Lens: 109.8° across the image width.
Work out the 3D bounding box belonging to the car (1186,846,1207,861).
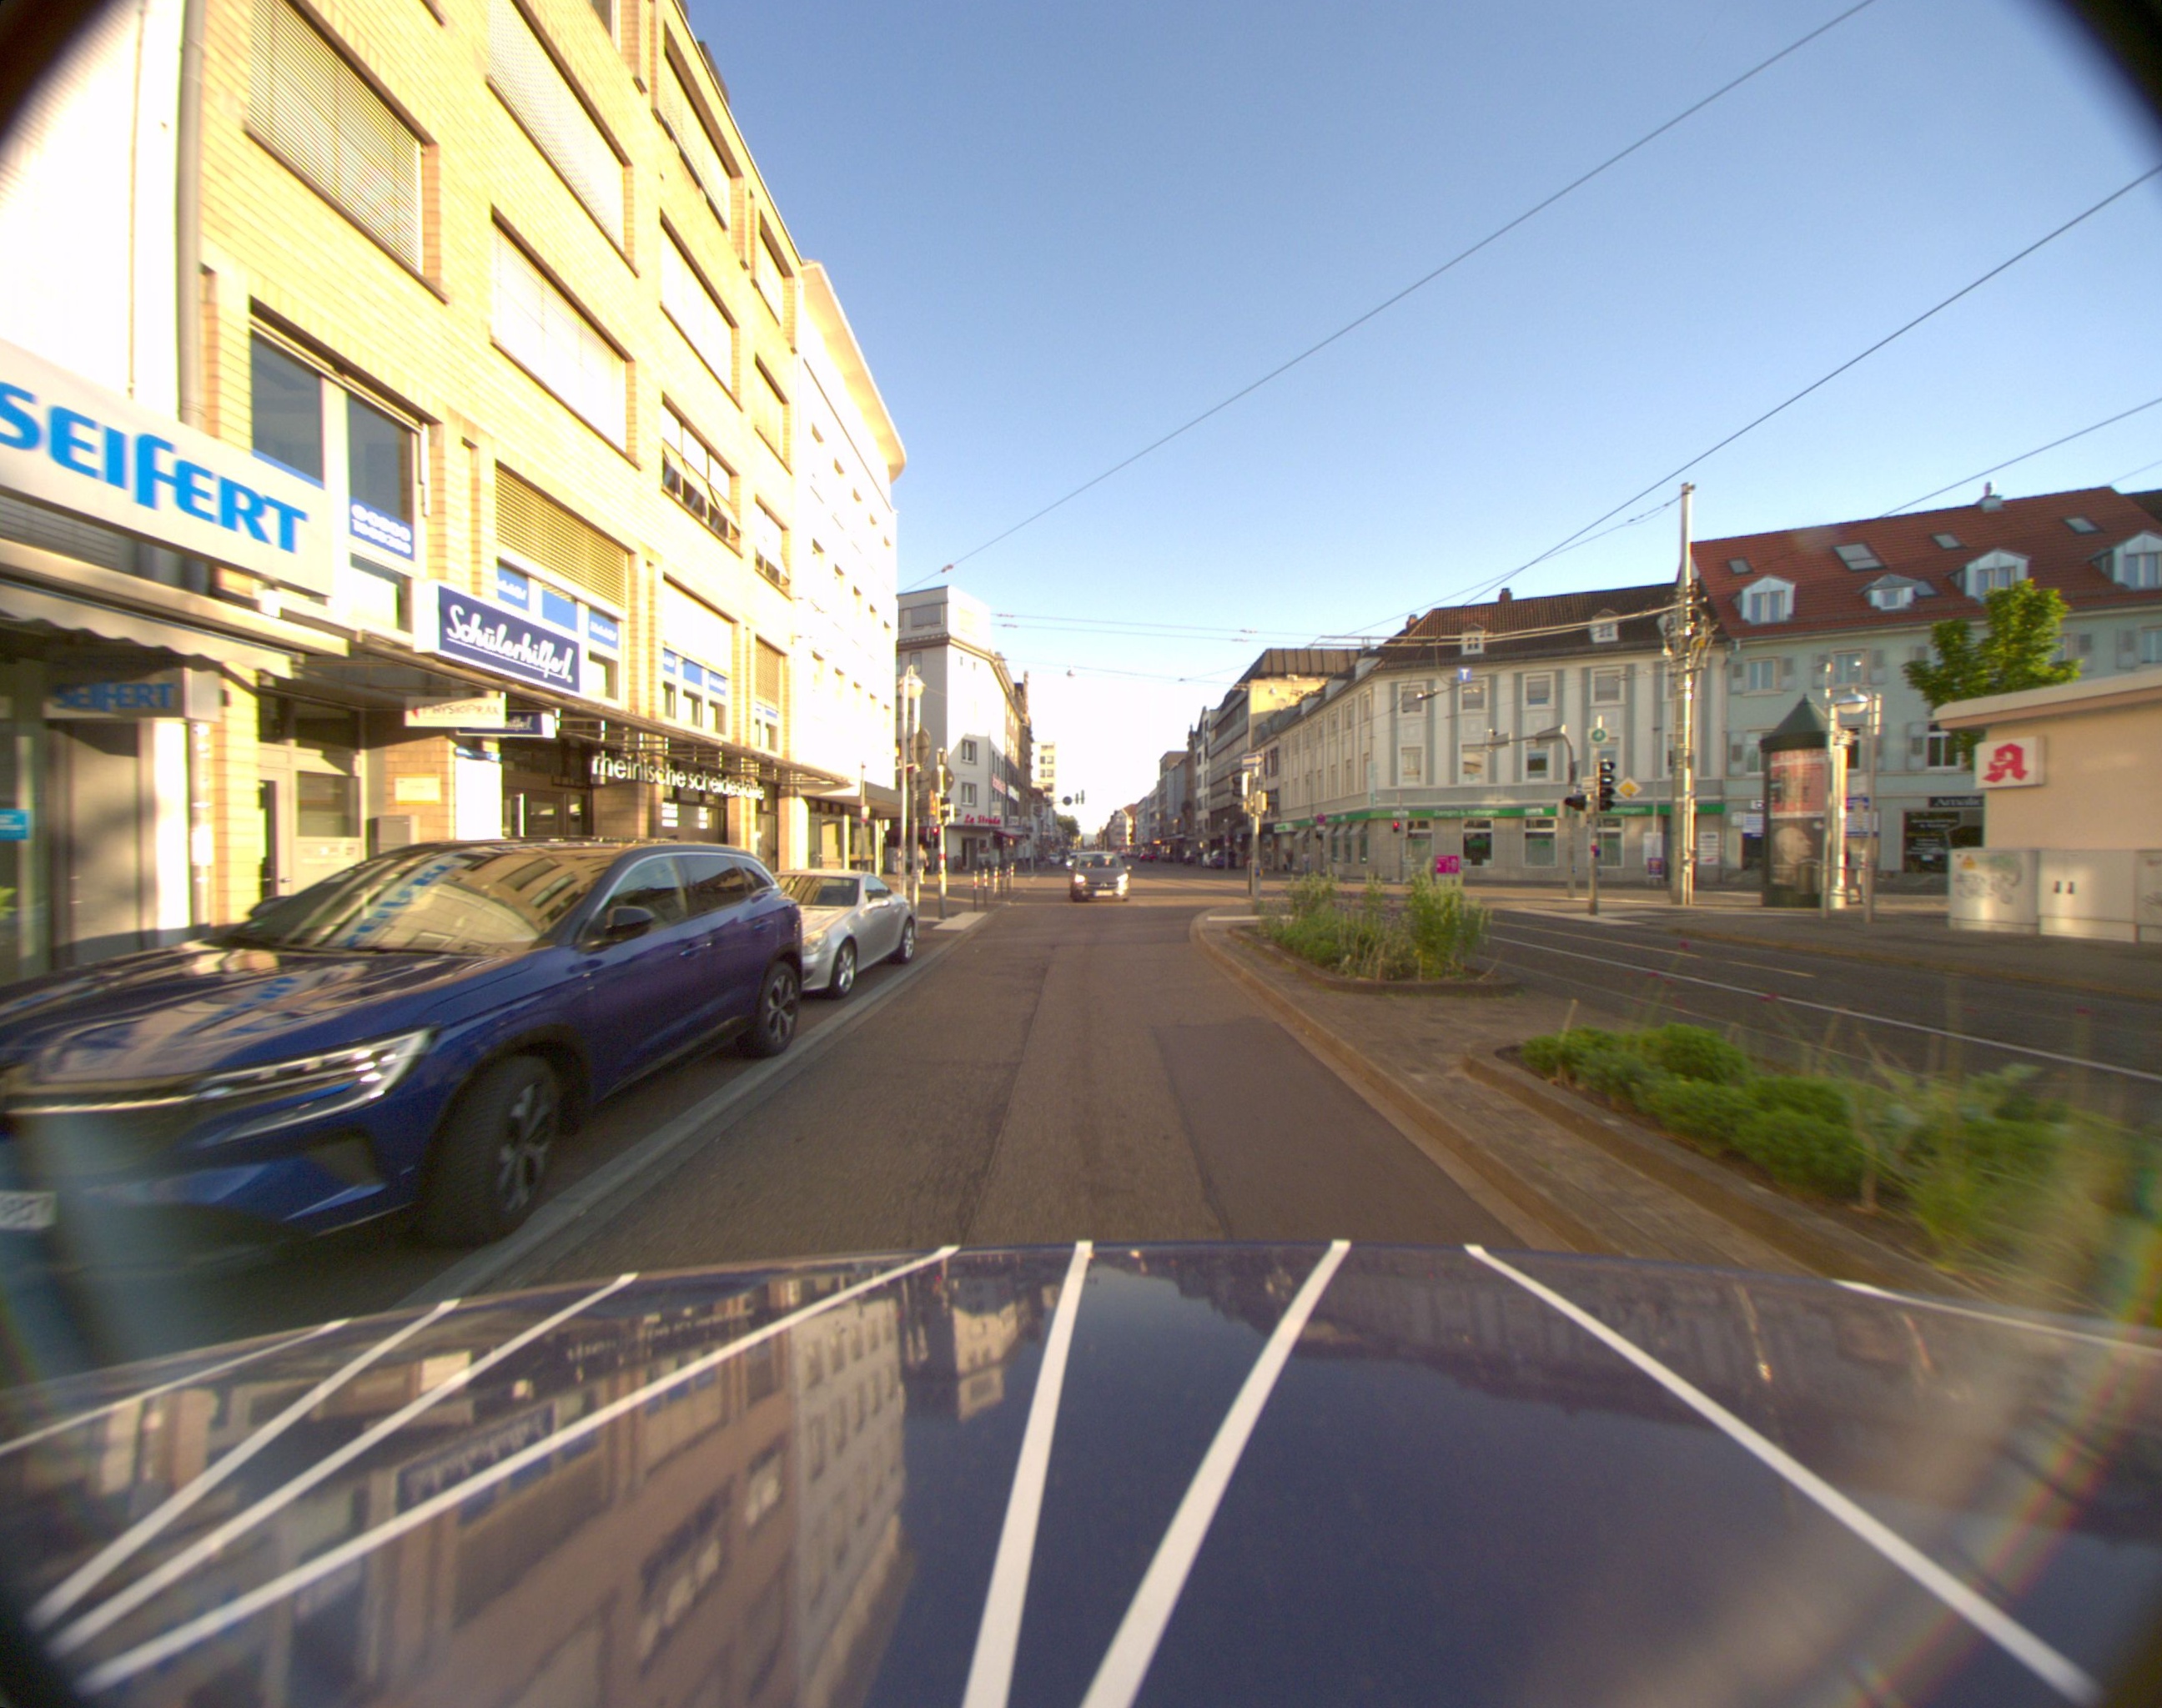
[{"bbox_3d":[13.330,-0.065,87.653,1.819,1.548,3.998,0,2,1],"label":"car"}]

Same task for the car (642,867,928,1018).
[{"bbox_3d":[-3.205,0.867,9.203,1.677,1.275,4.063,0,1,3],"label":"car"}]

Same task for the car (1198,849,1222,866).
[{"bbox_3d":[12.886,0.302,75.950,1.701,1.614,3.999,-1,0,0],"label":"car"}]

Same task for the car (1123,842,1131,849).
[{"bbox_3d":[14.124,-2.668,232.701,1.999,2.003,3.997,0,2,-2],"label":"car"}]

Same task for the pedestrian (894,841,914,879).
[{"bbox_3d":[-8.387,0.283,35.967,0.749,1.763,0.639,0,1,4],"label":"pedestrian"}]

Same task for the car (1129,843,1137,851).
[{"bbox_3d":[13.597,-1.945,198.971,1.960,2.003,3.998,0,2,-1],"label":"car"}]

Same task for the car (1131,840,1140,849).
[{"bbox_3d":[13.751,-2.435,191.558,1.975,2.181,4.132,0,2,0],"label":"car"}]

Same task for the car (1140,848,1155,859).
[{"bbox_3d":[9.751,-0.053,112.118,1.895,1.471,4.544,2,-1,1],"label":"car"}]

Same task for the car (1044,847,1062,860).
[{"bbox_3d":[-3.315,-0.051,92.124,2.041,1.550,4.386,0,0,0],"label":"car"}]

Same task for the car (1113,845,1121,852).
[{"bbox_3d":[11.672,-1.726,246.160,1.999,2.003,3.997,0,2,-2],"label":"car"}]

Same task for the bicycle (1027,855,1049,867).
[{"bbox_3d":[-3.721,0.636,66.076,1.829,1.025,0.443,1,1,-6],"label":"bicycle"}]

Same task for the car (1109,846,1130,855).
[{"bbox_3d":[7.531,-0.713,148.382,3.831,1.739,1.808,0,3,10],"label":"car"}]

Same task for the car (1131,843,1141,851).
[{"bbox_3d":[13.475,-1.694,185.467,1.974,2.003,3.997,0,2,-2],"label":"car"}]

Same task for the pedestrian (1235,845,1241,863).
[{"bbox_3d":[15.467,-0.013,74.743,0.509,1.675,0.583,-1,2,-1],"label":"pedestrian"}]

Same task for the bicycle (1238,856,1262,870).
[{"bbox_3d":[12.711,0.661,57.208,1.740,1.052,0.499,0,0,9],"label":"bicycle"}]

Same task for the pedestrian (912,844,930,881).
[{"bbox_3d":[-7.503,0.397,35.669,0.749,1.763,0.586,0,1,-7],"label":"pedestrian"}]

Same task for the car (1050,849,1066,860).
[{"bbox_3d":[-3.121,0.058,103.915,2.041,1.550,4.386,0,0,0],"label":"car"}]

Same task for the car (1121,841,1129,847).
[{"bbox_3d":[13.761,-3.173,238.539,1.999,2.003,3.997,0,2,-2],"label":"car"}]

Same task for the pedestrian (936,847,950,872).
[{"bbox_3d":[-9.034,0.378,49.775,0.799,1.646,0.586,0,1,-3],"label":"pedestrian"}]

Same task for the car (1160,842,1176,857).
[{"bbox_3d":[12.551,-0.648,109.937,1.998,2.003,3.998,0,2,1],"label":"car"}]

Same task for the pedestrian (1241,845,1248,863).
[{"bbox_3d":[16.041,-0.035,74.700,0.515,1.725,0.600,0,3,0],"label":"pedestrian"}]

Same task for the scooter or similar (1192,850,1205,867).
[{"bbox_3d":[9.537,0.353,61.757,0.544,1.343,1.672,0,1,28],"label":"scooter or similar"}]

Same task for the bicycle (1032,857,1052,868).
[{"bbox_3d":[-3.480,0.764,67.659,1.762,0.944,0.443,1,3,-6],"label":"bicycle"}]

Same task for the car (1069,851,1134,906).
[{"bbox_3d":[0.519,0.661,22.431,1.587,1.445,3.840,0,1,-3],"label":"car"}]

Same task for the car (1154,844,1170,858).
[{"bbox_3d":[12.442,-0.540,116.885,1.998,2.048,3.999,0,2,1],"label":"car"}]

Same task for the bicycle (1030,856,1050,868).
[{"bbox_3d":[-3.718,0.718,68.953,1.762,1.065,0.443,1,3,-6],"label":"bicycle"}]

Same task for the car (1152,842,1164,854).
[{"bbox_3d":[13.607,-1.114,134.439,1.833,1.907,3.998,0,2,0],"label":"car"}]

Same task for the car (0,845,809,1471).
[{"bbox_3d":[-3.118,0.760,4.066,1.769,1.596,4.287,0,1,0],"label":"car"}]

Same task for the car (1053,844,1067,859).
[{"bbox_3d":[-2.988,-0.338,109.141,2.041,2.105,4.386,0,1,0],"label":"car"}]

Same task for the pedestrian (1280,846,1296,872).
[{"bbox_3d":[13.875,0.318,51.045,0.827,1.718,0.813,-1,1,0],"label":"pedestrian"}]

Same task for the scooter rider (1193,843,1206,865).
[{"bbox_3d":[9.644,-0.030,61.953,0.811,1.797,0.789,2,2,29],"label":"scooter rider"}]

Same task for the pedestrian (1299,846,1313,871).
[{"bbox_3d":[14.798,0.316,50.023,0.826,1.631,0.814,-1,0,17],"label":"pedestrian"}]

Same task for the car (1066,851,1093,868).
[{"bbox_3d":[-0.105,0.451,62.956,1.914,1.350,3.747,-1,0,4],"label":"car"}]

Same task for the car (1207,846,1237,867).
[{"bbox_3d":[12.923,0.225,69.784,1.915,1.785,4.128,-2,1,0],"label":"car"}]
